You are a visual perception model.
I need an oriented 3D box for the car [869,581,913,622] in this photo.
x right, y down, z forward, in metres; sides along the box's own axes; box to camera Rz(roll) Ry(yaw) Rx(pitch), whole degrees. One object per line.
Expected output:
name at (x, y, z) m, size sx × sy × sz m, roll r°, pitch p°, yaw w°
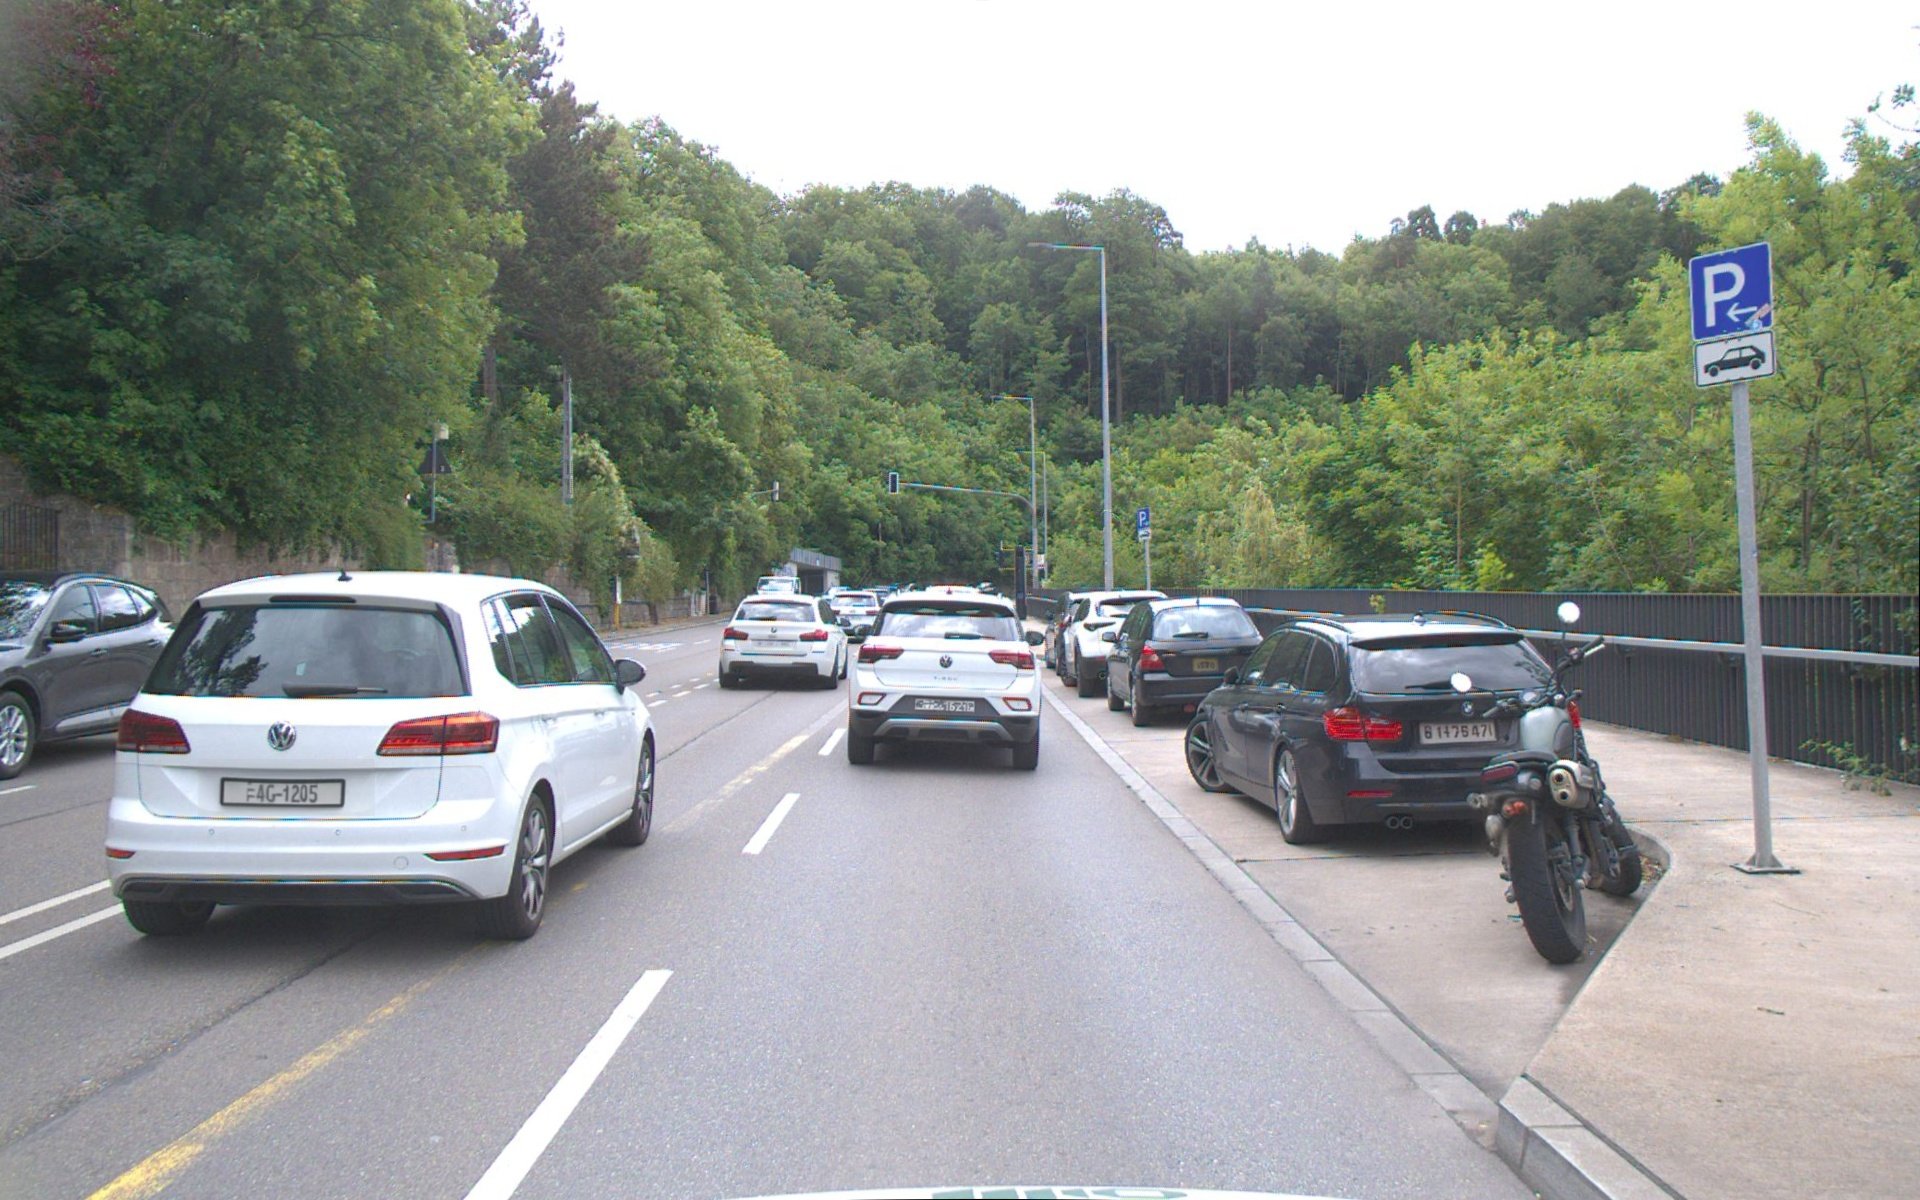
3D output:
car at (-3.289, 0.068, 79.485) m, size 1.953 × 1.897 × 4.000 m, roll 1°, pitch 0°, yaw 0°

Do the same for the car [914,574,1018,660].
car at (0.205, 0.385, 39.430) m, size 1.951 × 1.875 × 4.153 m, roll 2°, pitch 0°, yaw 7°

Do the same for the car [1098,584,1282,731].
car at (2.810, 0.649, 21.035) m, size 1.626 × 1.599 × 4.255 m, roll -3°, pitch 0°, yaw -1°

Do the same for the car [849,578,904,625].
car at (-3.299, 0.045, 65.832) m, size 1.952 × 1.771 × 4.000 m, roll 1°, pitch 0°, yaw 0°

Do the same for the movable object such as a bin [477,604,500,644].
movable object such as a bin at (-12.128, 0.619, 42.526) m, size 0.468 × 0.988 × 0.367 m, roll 2°, pitch 0°, yaw -5°

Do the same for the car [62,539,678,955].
car at (-2.619, 0.552, 8.470) m, size 1.685 × 1.581 × 4.274 m, roll 1°, pitch 0°, yaw -1°

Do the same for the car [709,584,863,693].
car at (-2.734, 0.559, 27.077) m, size 1.952 × 1.585 × 4.681 m, roll 1°, pitch 0°, yaw 0°

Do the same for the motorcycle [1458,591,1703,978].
motorcycle at (2.957, 0.718, 7.703) m, size 0.755 × 1.493 × 2.501 m, roll 1°, pitch 0°, yaw 28°

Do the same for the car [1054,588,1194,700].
car at (2.520, 0.642, 26.421) m, size 1.691 × 1.596 × 4.623 m, roll -1°, pitch 0°, yaw -1°

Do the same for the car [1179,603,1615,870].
car at (2.806, 0.787, 11.683) m, size 1.786 × 1.425 × 4.318 m, roll -2°, pitch 0°, yaw -2°

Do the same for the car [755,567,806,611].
car at (-8.660, -0.524, 80.091) m, size 1.882 × 2.040 × 5.355 m, roll 0°, pitch 0°, yaw 0°

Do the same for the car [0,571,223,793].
car at (-8.345, 0.626, 14.422) m, size 1.778 × 1.727 × 4.470 m, roll 1°, pitch 0°, yaw 0°

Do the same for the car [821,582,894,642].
car at (-2.951, 0.333, 48.320) m, size 1.824 × 1.623 × 4.000 m, roll 2°, pitch 0°, yaw 0°

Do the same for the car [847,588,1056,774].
car at (-0.205, 0.696, 16.143) m, size 1.778 × 1.566 × 4.005 m, roll -1°, pitch 0°, yaw -4°

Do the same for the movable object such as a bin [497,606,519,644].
movable object such as a bin at (-11.632, 0.646, 42.560) m, size 0.469 × 0.952 × 0.365 m, roll 2°, pitch 0°, yaw -5°

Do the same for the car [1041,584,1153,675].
car at (2.628, 0.527, 32.637) m, size 1.721 × 1.571 × 4.426 m, roll -3°, pitch 0°, yaw -1°

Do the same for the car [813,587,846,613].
car at (-8.335, -0.025, 106.228) m, size 1.641 × 1.467 × 4.234 m, roll 2°, pitch 2°, yaw 1°

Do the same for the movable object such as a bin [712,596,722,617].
movable object such as a bin at (-11.900, 0.318, 81.087) m, size 0.418 × 0.966 × 0.479 m, roll 2°, pitch 0°, yaw -2°
